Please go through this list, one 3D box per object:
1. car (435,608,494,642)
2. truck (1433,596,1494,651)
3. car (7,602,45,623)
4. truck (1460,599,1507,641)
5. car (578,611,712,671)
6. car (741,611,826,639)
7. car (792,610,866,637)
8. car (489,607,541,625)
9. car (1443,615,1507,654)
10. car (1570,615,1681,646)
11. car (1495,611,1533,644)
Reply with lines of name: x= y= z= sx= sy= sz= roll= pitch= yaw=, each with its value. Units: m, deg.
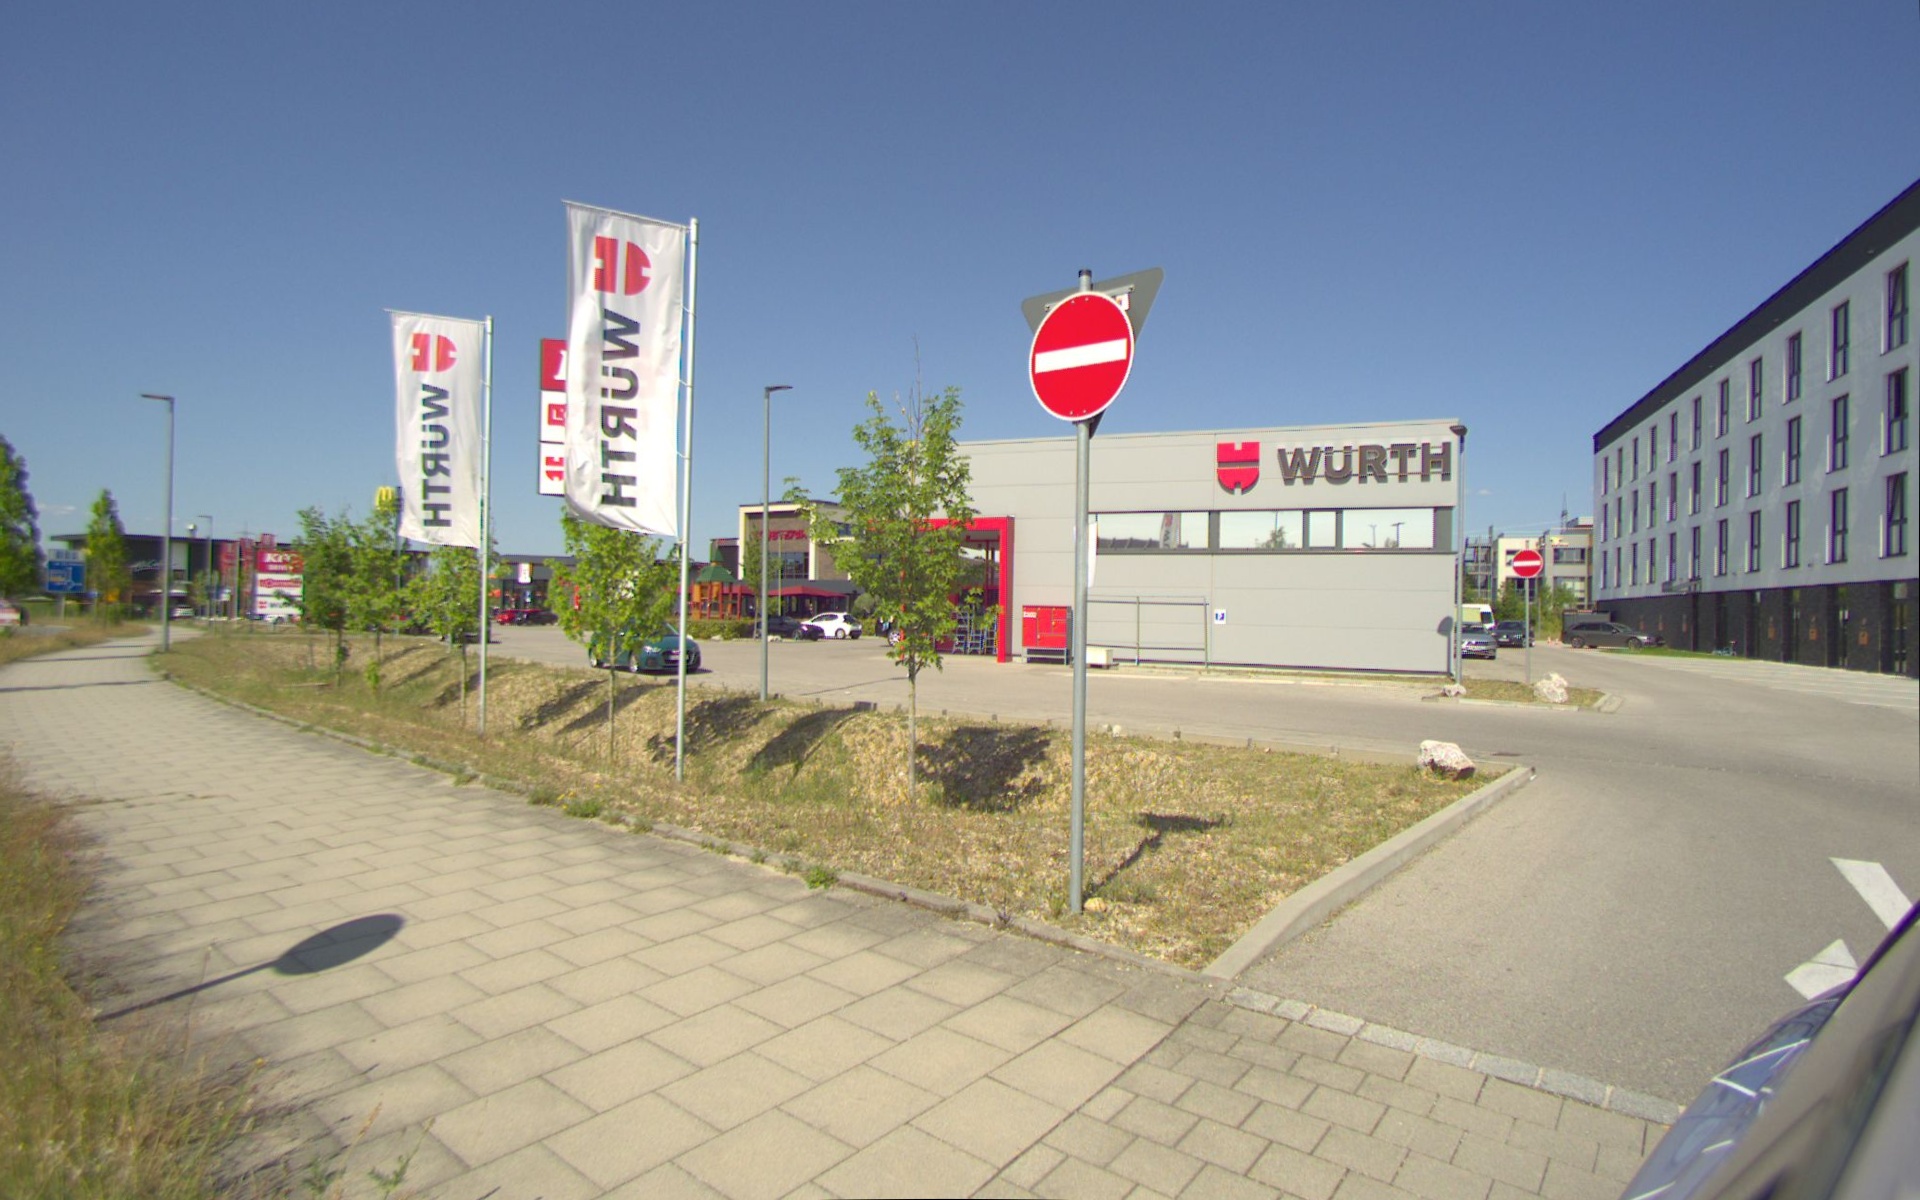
car: x=-22.939 y=1.126 z=46.776 sx=1.842 sy=1.484 sz=4.364 roll=1 pitch=-1 yaw=-34
truck: x=23.590 y=1.066 z=47.559 sx=2.099 sy=2.407 sz=5.845 roll=0 pitch=-1 yaw=22
car: x=-73.789 y=0.974 z=80.037 sx=1.880 sy=1.571 sz=4.383 roll=0 pitch=0 yaw=-39
truck: x=31.519 y=1.191 z=61.100 sx=1.977 sy=2.407 sz=5.845 roll=0 pitch=-1 yaw=22
car: x=-8.539 y=1.048 z=27.247 sx=1.814 sy=1.468 sz=4.217 roll=1 pitch=-1 yaw=-42
car: x=-9.270 y=1.295 z=53.142 sx=4.105 sy=1.355 sz=1.817 roll=0 pitch=-1 yaw=22
car: x=-7.486 y=1.324 z=57.626 sx=3.876 sy=1.493 sz=1.786 roll=0 pitch=-1 yaw=27
car: x=-40.715 y=1.453 z=92.679 sx=1.865 sy=1.586 sz=4.047 roll=0 pitch=-1 yaw=33
car: x=21.019 y=1.369 z=41.448 sx=1.856 sy=1.527 sz=3.972 roll=0 pitch=-1 yaw=20
car: x=34.824 y=1.553 z=53.081 sx=1.842 sy=1.527 sz=4.528 roll=1 pitch=-1 yaw=-31
car: x=30.235 y=1.463 z=55.192 sx=1.705 sy=1.638 sz=3.956 roll=0 pitch=0 yaw=31
